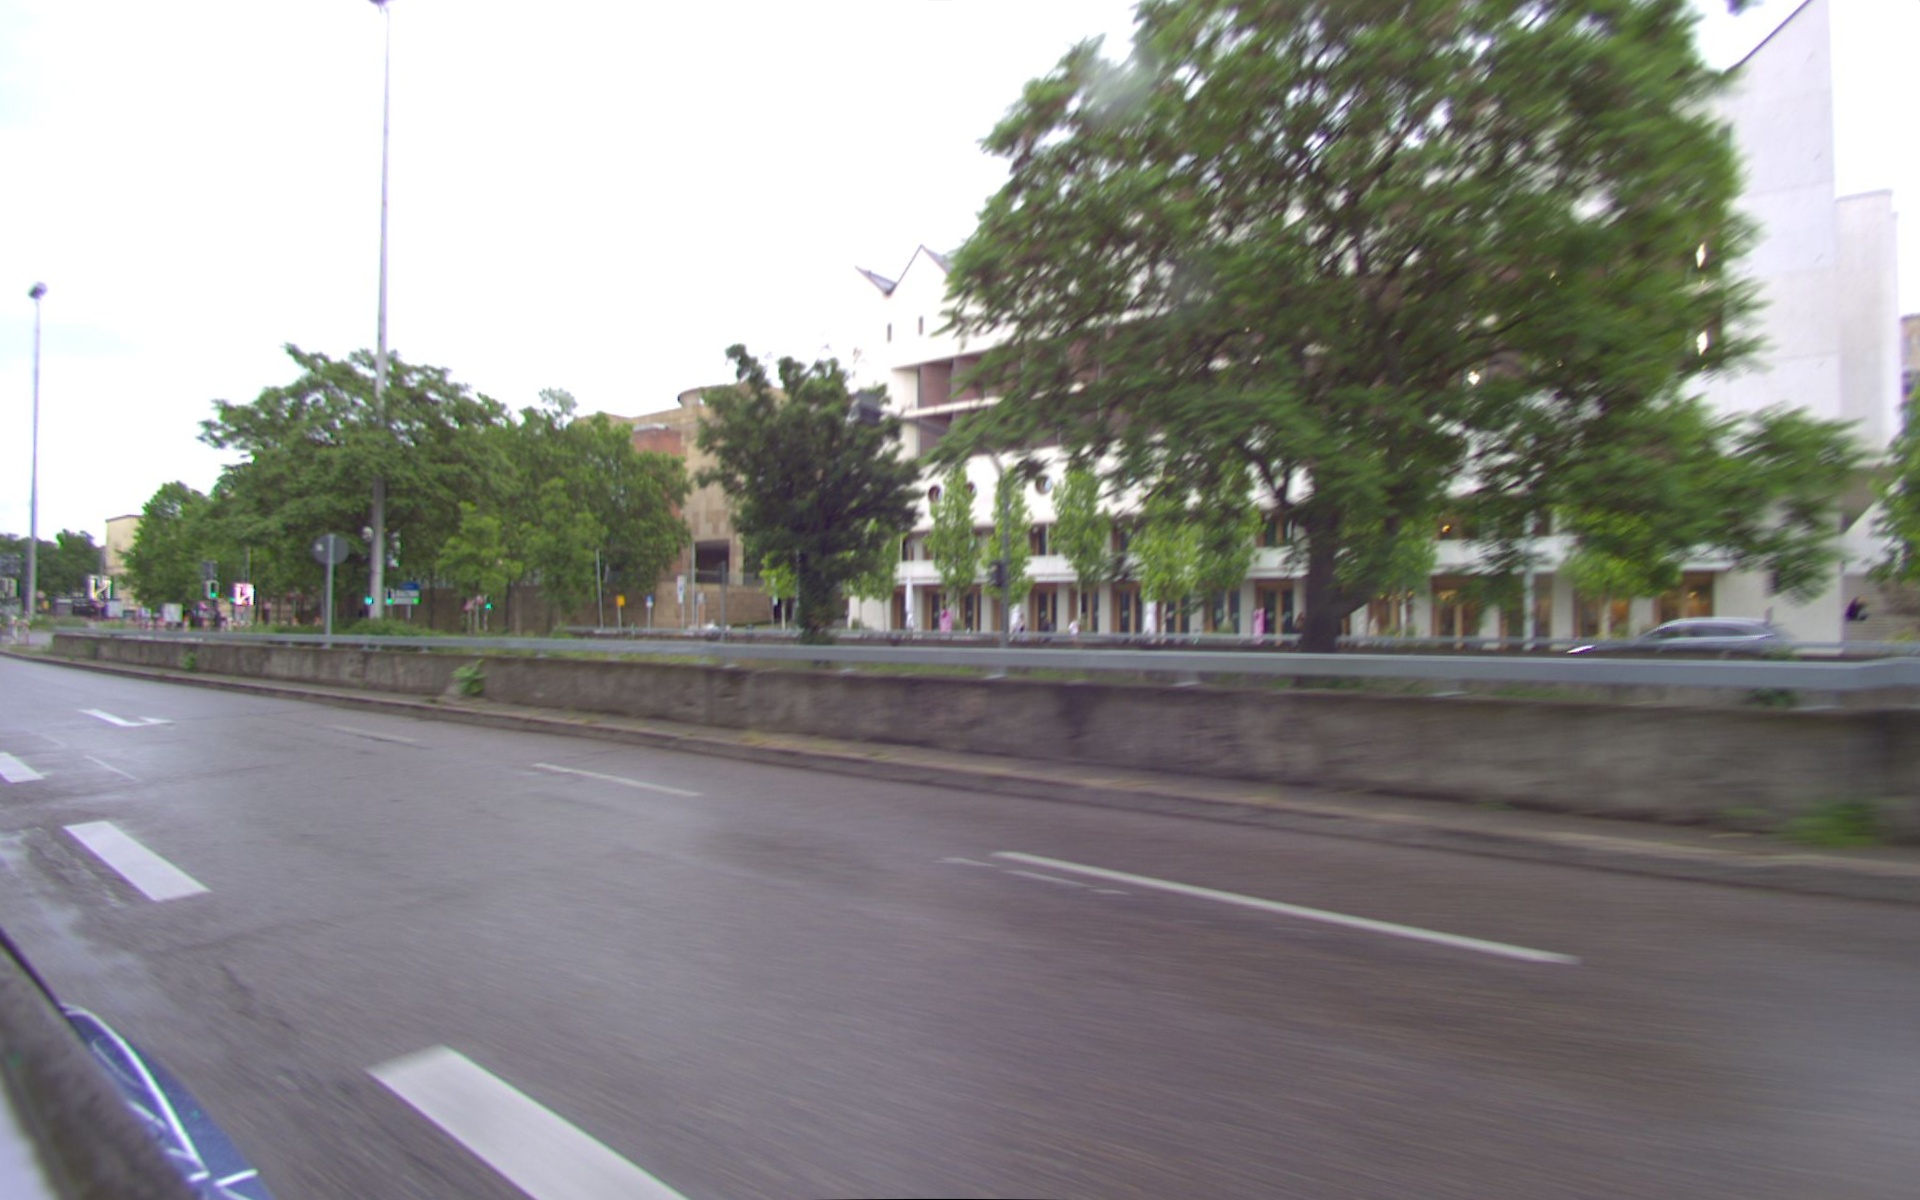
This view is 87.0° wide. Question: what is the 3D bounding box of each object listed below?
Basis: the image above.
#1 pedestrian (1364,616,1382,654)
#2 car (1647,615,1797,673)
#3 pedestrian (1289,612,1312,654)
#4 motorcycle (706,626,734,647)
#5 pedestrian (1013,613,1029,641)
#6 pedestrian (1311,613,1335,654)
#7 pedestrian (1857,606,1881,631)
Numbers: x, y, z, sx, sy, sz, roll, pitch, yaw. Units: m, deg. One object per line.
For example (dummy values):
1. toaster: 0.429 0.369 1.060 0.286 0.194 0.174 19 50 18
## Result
1. pedestrian: 18.422 1.556 45.106 0.698 1.639 0.734 -1 0 25
2. car: 18.210 1.026 24.314 2.816 1.287 1.283 0 0 35
3. pedestrian: 15.653 1.508 46.560 0.729 1.873 0.703 0 0 -8
4. motorcycle: -14.286 2.162 60.330 0.603 1.191 1.800 -1 0 26
5. pedestrian: 3.450 1.526 57.295 0.651 1.526 0.671 -1 -1 43
6. pedestrian: 16.587 1.518 46.253 0.729 1.873 0.703 0 0 -8
7. pedestrian: 33.959 0.685 37.816 0.628 0.894 0.798 -1 0 41
